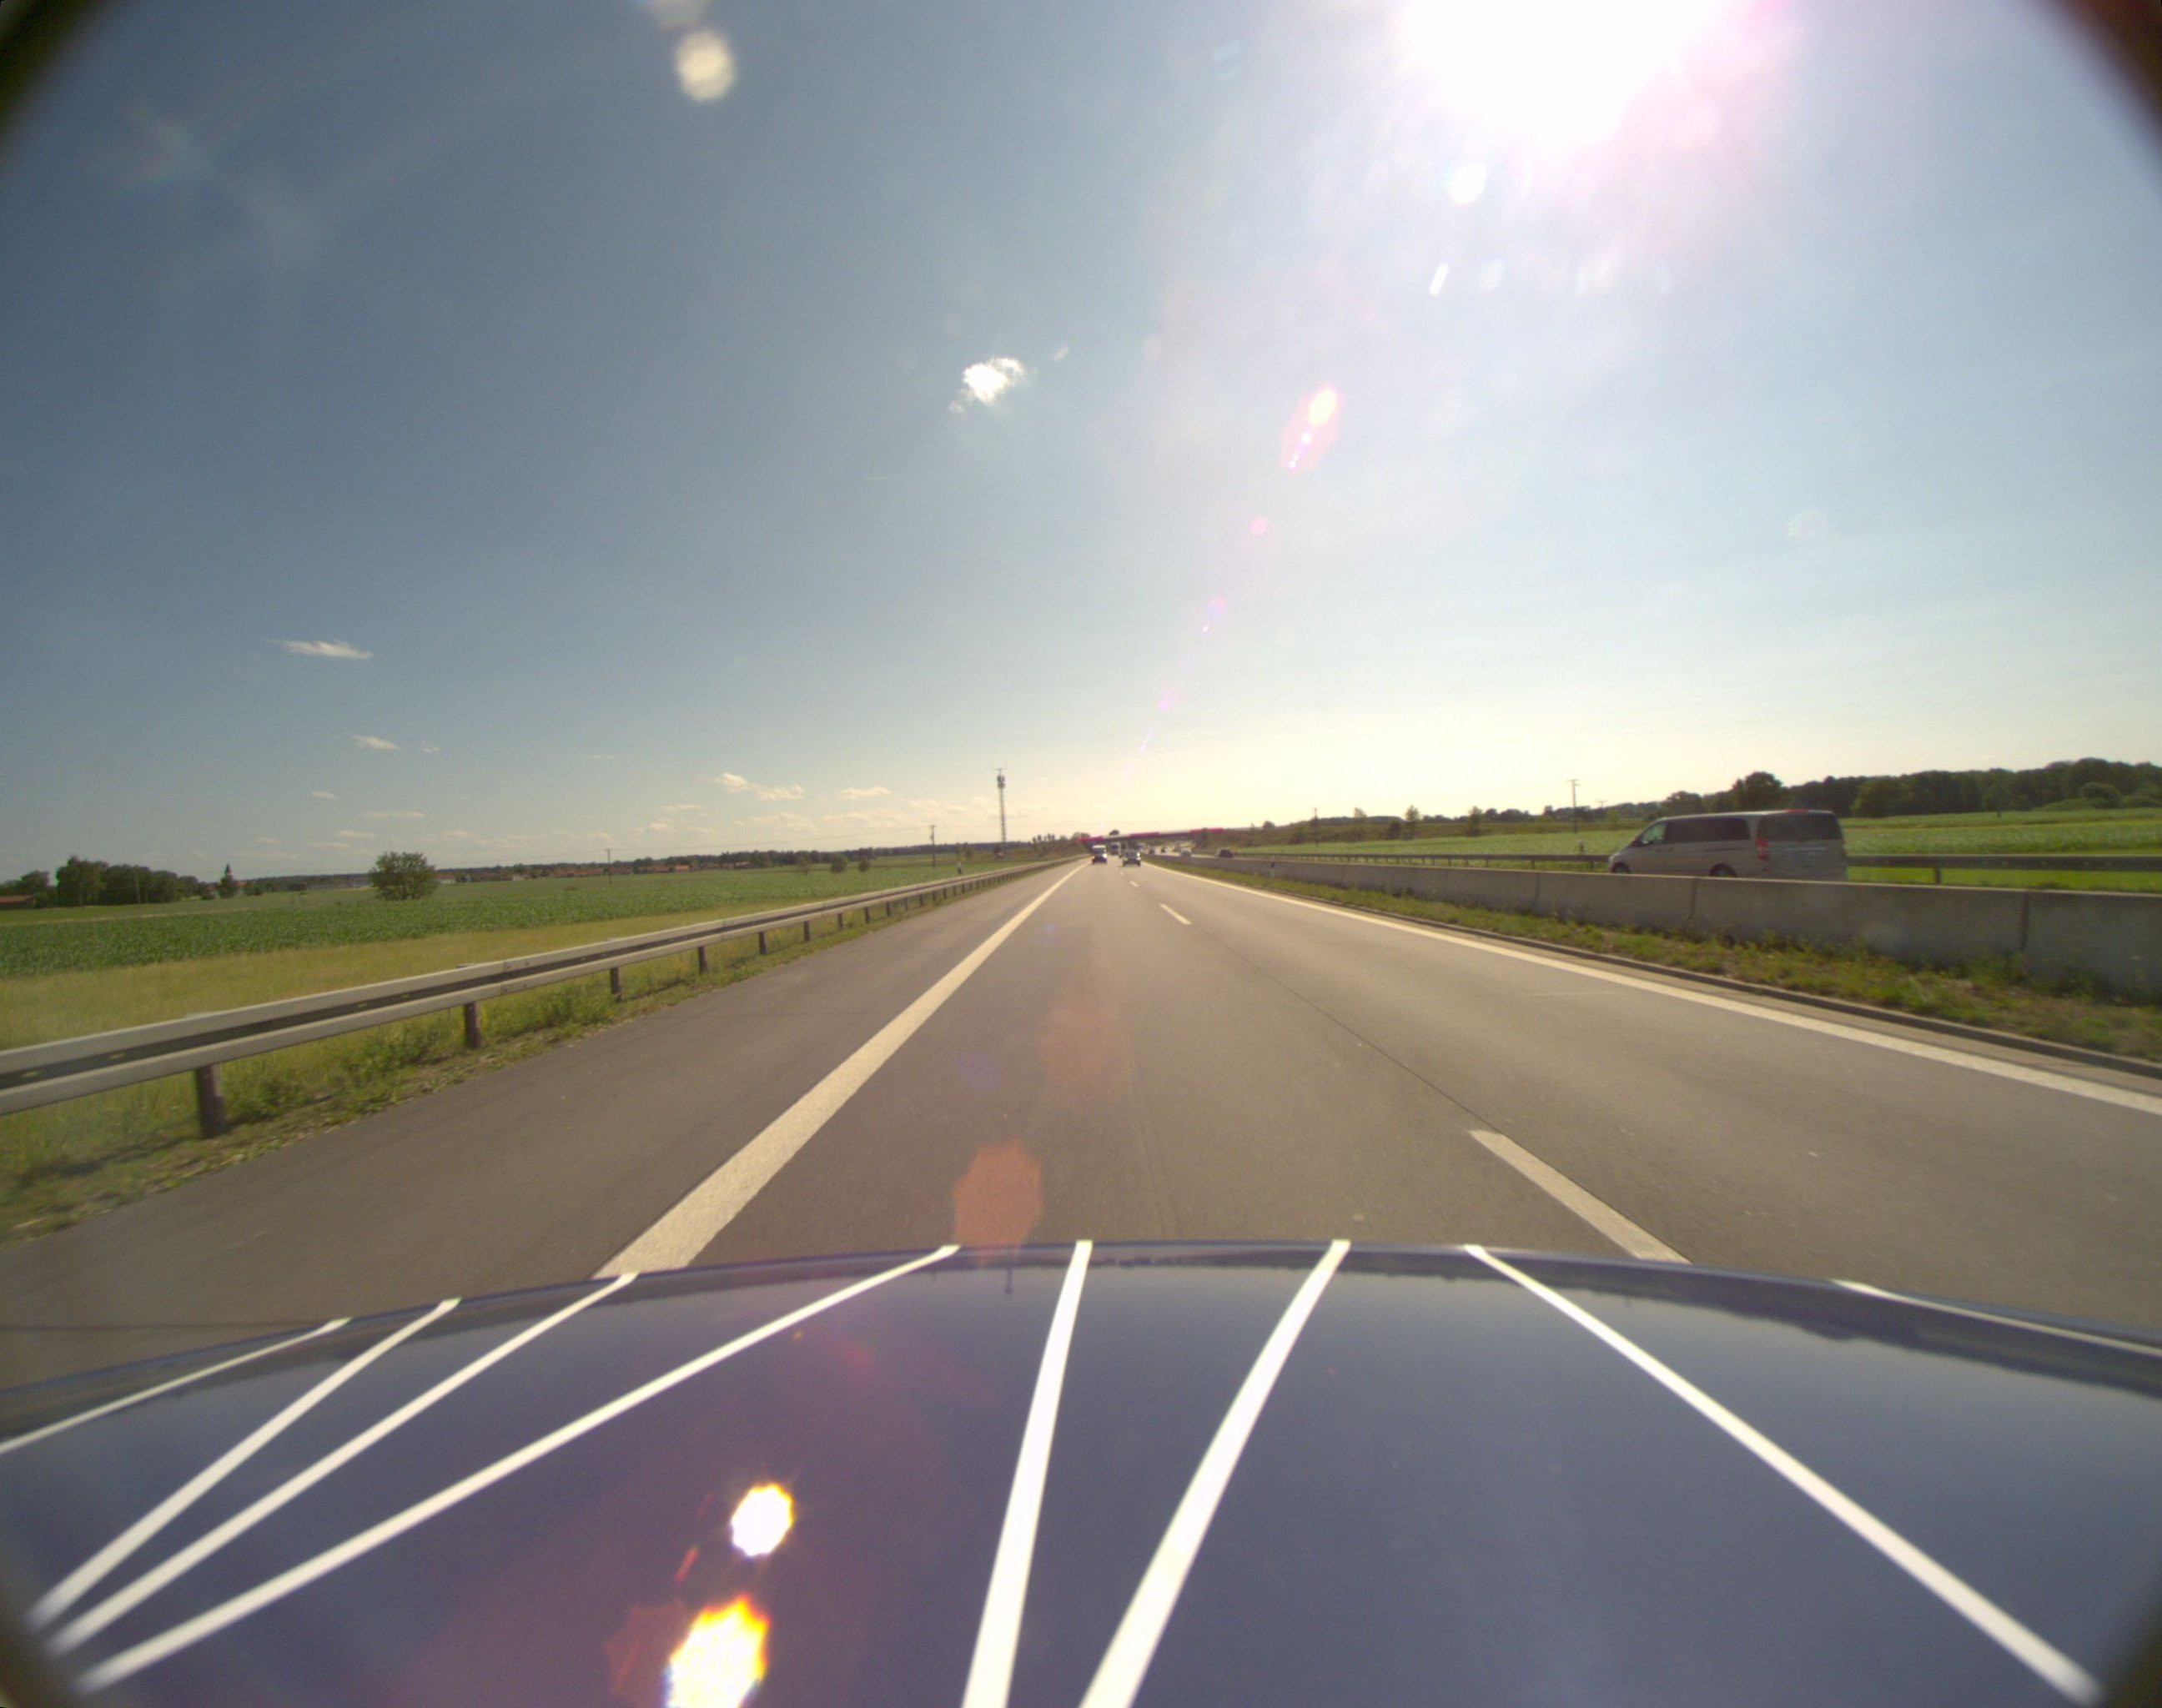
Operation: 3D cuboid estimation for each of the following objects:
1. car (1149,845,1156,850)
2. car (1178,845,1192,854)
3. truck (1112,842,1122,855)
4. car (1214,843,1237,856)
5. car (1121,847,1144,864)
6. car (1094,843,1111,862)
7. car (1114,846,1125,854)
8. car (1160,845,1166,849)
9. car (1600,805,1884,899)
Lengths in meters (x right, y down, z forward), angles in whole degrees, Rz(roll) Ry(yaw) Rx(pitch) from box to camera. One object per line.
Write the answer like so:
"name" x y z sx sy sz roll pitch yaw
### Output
"car" 21.544 -1.978 229.320 1.827 1.357 4.660 -1 0 1
"car" 18.377 -0.798 134.536 1.827 1.357 5.295 -1 0 1
"truck" 11.310 -1.652 238.537 2.762 3.793 7.517 -3 1 3
"car" 17.500 -0.543 92.462 1.863 1.575 4.914 -1 0 0
"car" 5.329 0.132 78.652 2.030 1.600 4.817 -3 1 1
"car" 2.739 -0.201 97.193 2.030 2.225 4.817 -2 1 1
"car" 7.905 -0.852 156.419 2.030 1.600 4.818 -3 1 2
"car" 26.597 -2.232 246.105 1.827 1.357 4.664 -1 0 3
"car" 15.061 -0.044 17.894 1.959 1.831 5.449 -1 0 0
